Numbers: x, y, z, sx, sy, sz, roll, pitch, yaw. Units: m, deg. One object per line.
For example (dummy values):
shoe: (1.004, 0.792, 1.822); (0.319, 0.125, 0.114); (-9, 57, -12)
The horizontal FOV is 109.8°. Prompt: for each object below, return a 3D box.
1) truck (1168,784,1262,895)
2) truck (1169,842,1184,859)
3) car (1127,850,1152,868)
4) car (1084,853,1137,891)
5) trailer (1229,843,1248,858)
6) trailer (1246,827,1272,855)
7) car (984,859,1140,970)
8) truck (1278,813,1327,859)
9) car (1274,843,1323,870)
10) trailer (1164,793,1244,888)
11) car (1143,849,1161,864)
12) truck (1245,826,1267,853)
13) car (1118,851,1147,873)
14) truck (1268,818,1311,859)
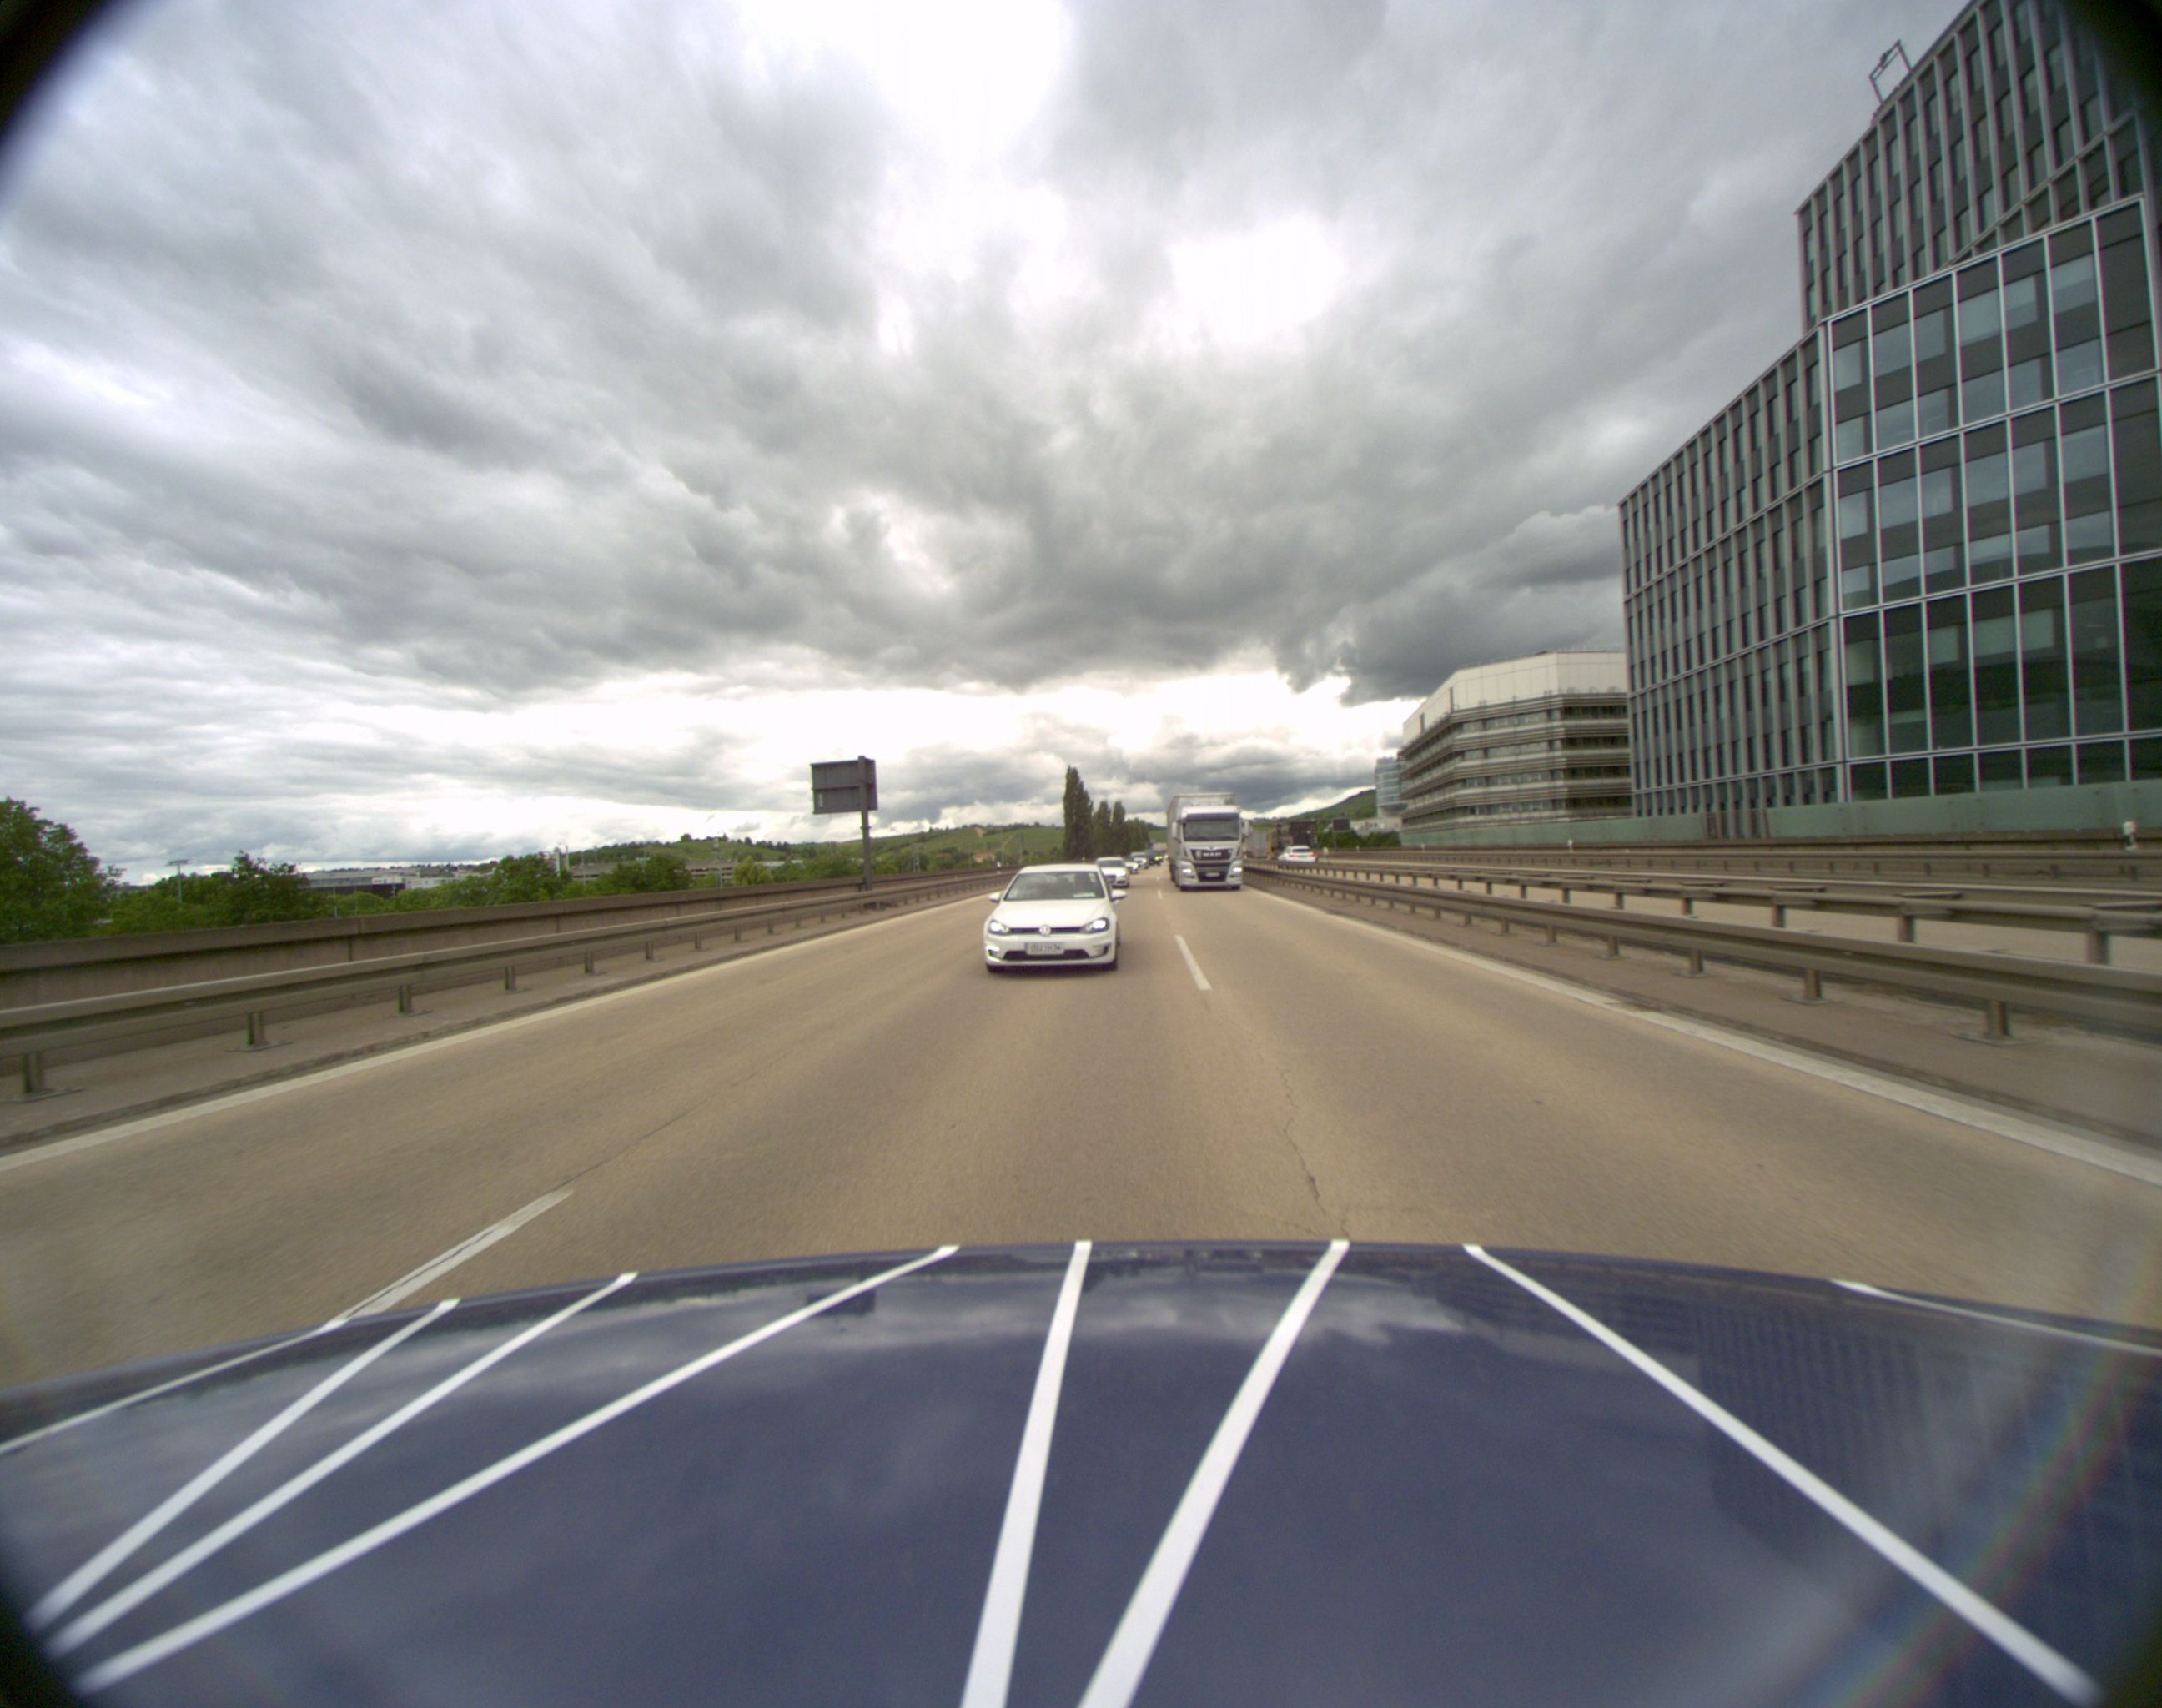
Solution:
truck: (5.398, -0.570, 31.657); (3.141, 4.014, 5.689); (-3, 1, 4)
truck: (19.345, -0.713, 153.789); (2.335, 3.219, 6.691); (-2, 1, 11)
car: (5.833, 0.458, 75.163); (1.929, 1.585, 4.064); (-3, 1, 11)
car: (1.479, 0.811, 35.879); (1.929, 1.499, 4.063); (-3, 1, 9)
trailer: (20.925, -0.478, 101.011); (1.998, 2.002, 4.001); (-2, 1, 6)
trailer: (27.128, -2.114, 116.063); (2.850, 3.965, 11.889); (-2, 2, 9)
car: (-0.134, 0.913, 13.143); (1.929, 1.499, 4.063); (-2, 1, 9)
truck: (21.117, -1.690, 72.903); (3.063, 4.042, 8.667); (-2, 1, 7)
car: (14.098, 0.118, 49.553); (1.998, 1.597, 4.807); (-2, 1, 3)
trailer: (6.108, -0.665, 39.663); (3.188, 4.003, 11.769); (-3, 0, 6)
car: (8.530, 0.263, 90.688); (1.929, 1.585, 4.063); (-3, 1, 7)
truck: (28.077, -2.278, 122.129); (2.777, 4.056, 5.649); (-2, 1, 8)
car: (4.076, 0.608, 59.808); (1.929, 1.585, 4.063); (-3, 1, 7)
truck: (22.628, -1.689, 83.196); (3.063, 4.042, 11.862); (-2, 1, 9)
